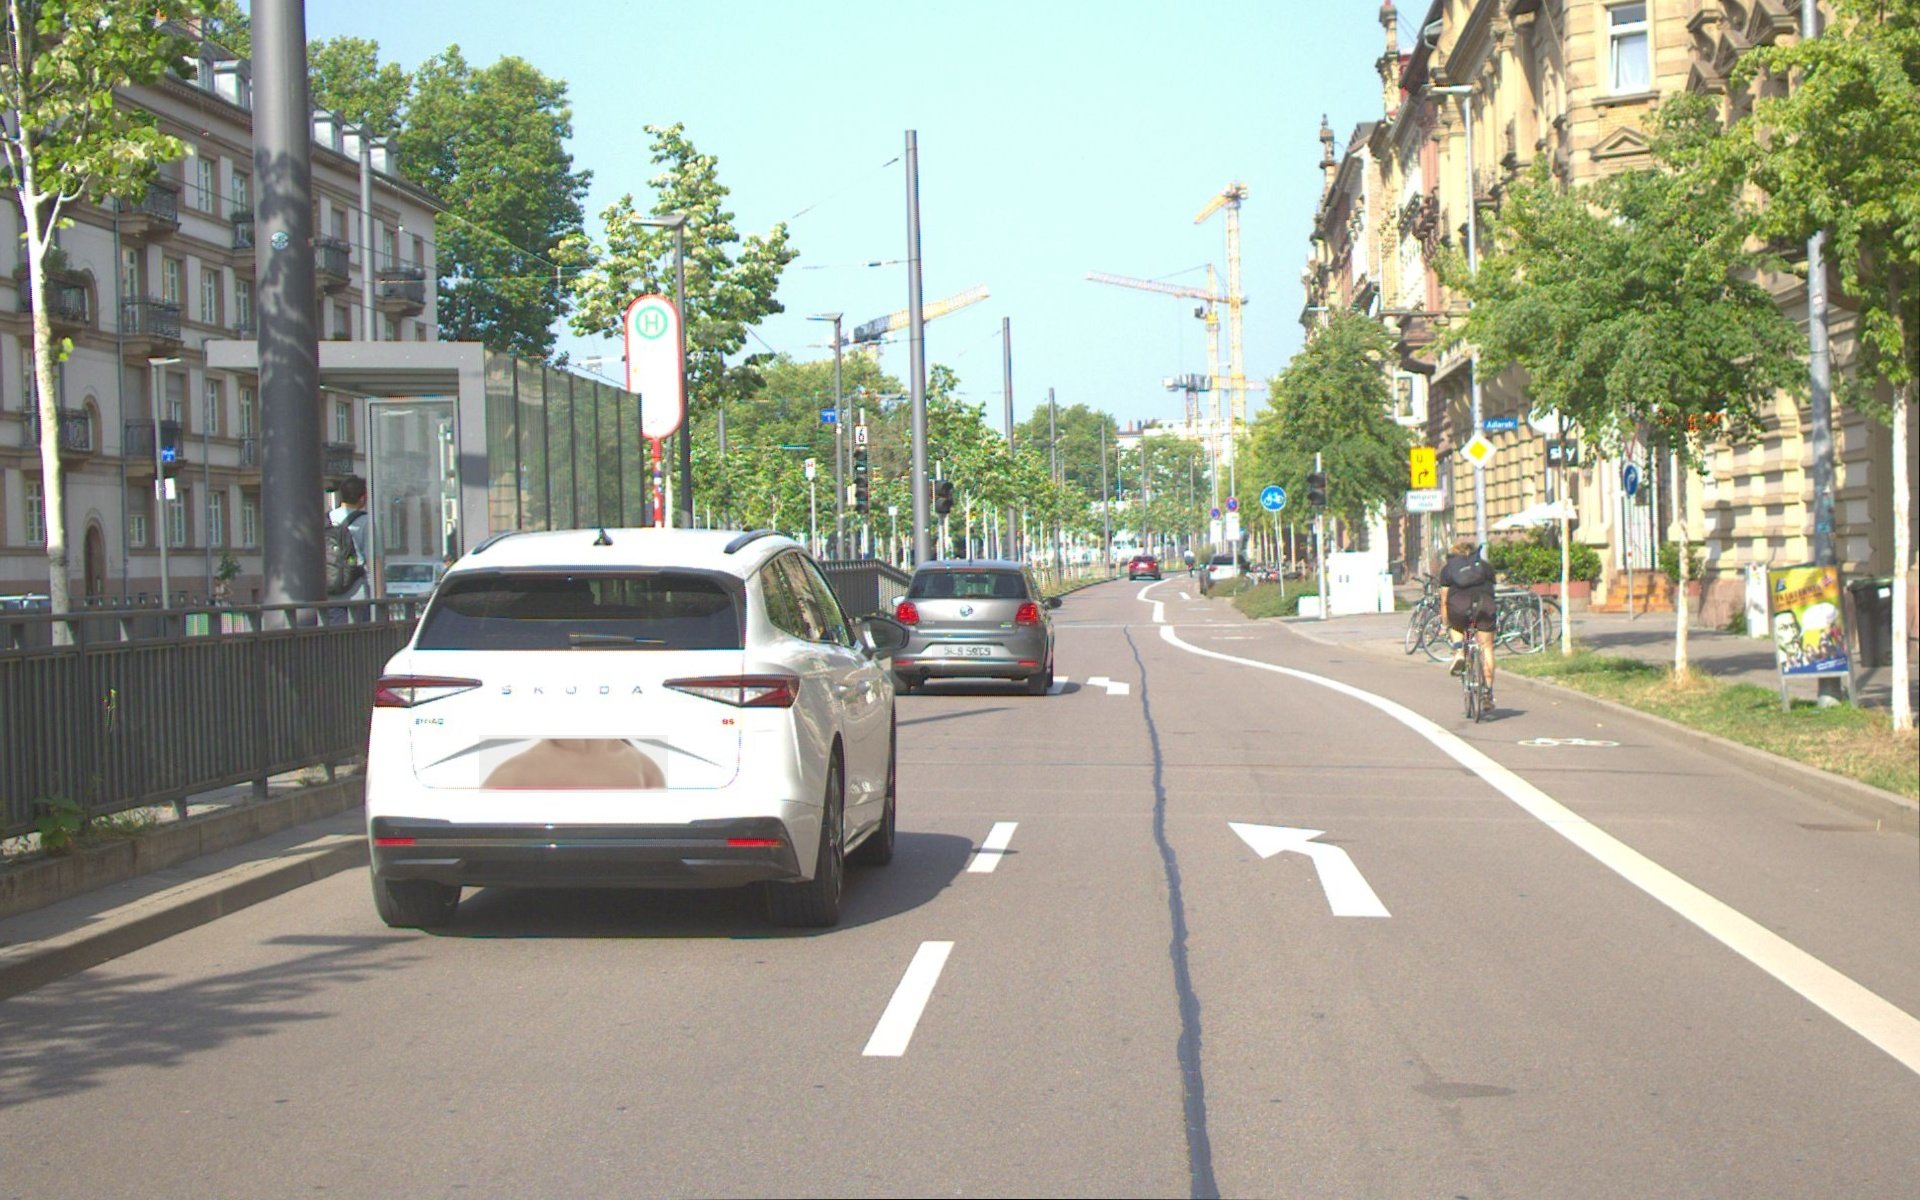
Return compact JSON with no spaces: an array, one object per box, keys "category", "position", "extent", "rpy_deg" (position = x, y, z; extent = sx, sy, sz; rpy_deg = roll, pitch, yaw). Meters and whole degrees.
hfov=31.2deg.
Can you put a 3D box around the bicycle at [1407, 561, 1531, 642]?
[{"category":"bicycle","position":[7.546,0.024,50.975],"extent":[1.756,1.084,0.668],"rpy_deg":[-3,1,9]}]

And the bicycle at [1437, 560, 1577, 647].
[{"category":"bicycle","position":[7.668,0.046,48.226],"extent":[1.755,1.084,0.658],"rpy_deg":[-5,0,-6]}]

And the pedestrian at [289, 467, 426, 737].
[{"category":"pedestrian","position":[-4.591,0.010,26.263],"extent":[0.833,2.007,1.028],"rpy_deg":[1,0,0]}]

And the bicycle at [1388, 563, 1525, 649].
[{"category":"bicycle","position":[7.149,0.084,49.507],"extent":[1.755,1.084,0.673],"rpy_deg":[-5,1,-19]}]

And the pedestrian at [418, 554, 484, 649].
[{"category":"pedestrian","position":[-10.169,0.026,68.617],"extent":[1.067,1.861,0.864],"rpy_deg":[-1,0,-24]}]

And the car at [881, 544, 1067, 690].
[{"category":"car","position":[0.211,0.148,37.405],"extent":[1.754,1.479,4.406],"rpy_deg":[-1,1,4]}]

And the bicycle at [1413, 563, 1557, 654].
[{"category":"bicycle","position":[7.122,0.108,46.692],"extent":[1.755,1.084,0.611],"rpy_deg":[-5,0,-6]}]

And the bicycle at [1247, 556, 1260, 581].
[{"category":"bicycle","position":[13.148,-1.424,154.112],"extent":[0.492,1.090,1.826],"rpy_deg":[-1,1,4]}]

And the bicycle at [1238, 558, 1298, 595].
[{"category":"bicycle","position":[9.877,-0.756,110.169],"extent":[1.806,1.092,0.671],"rpy_deg":[-3,1,-1]}]

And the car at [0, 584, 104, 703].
[{"category":"car","position":[-15.748,0.702,56.083],"extent":[1.994,1.799,4.631],"rpy_deg":[-2,1,5]}]

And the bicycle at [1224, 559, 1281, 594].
[{"category":"bicycle","position":[9.475,-0.771,111.488],"extent":[1.785,1.050,0.373],"rpy_deg":[-3,1,2]}]

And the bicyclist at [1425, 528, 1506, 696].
[{"category":"bicyclist","position":[4.554,0.118,30.999],"extent":[0.583,1.477,0.931],"rpy_deg":[1,-2,1]}]

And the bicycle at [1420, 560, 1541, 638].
[{"category":"bicycle","position":[7.985,-0.024,52.806],"extent":[1.753,1.084,0.582],"rpy_deg":[-3,1,7]}]

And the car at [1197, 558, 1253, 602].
[{"category":"car","position":[10.210,-0.786,132.907],"extent":[1.769,1.583,4.248],"rpy_deg":[-3,1,0]}]

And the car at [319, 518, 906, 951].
[{"category":"car","position":[-1.318,0.472,14.857],"extent":[1.817,1.584,4.406],"rpy_deg":[-1,1,4]}]

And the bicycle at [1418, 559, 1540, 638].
[{"category":"bicycle","position":[7.870,-0.022,52.211],"extent":[1.753,1.084,0.582],"rpy_deg":[-3,1,7]}]

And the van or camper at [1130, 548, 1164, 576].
[{"category":"van or camper","position":[11.515,-2.359,211.710],"extent":[1.994,1.649,4.000],"rpy_deg":[-2,1,3]}]

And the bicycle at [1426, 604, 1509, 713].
[{"category":"bicycle","position":[4.573,0.536,31.036],"extent":[0.505,0.950,1.785],"rpy_deg":[1,-2,1]}]
